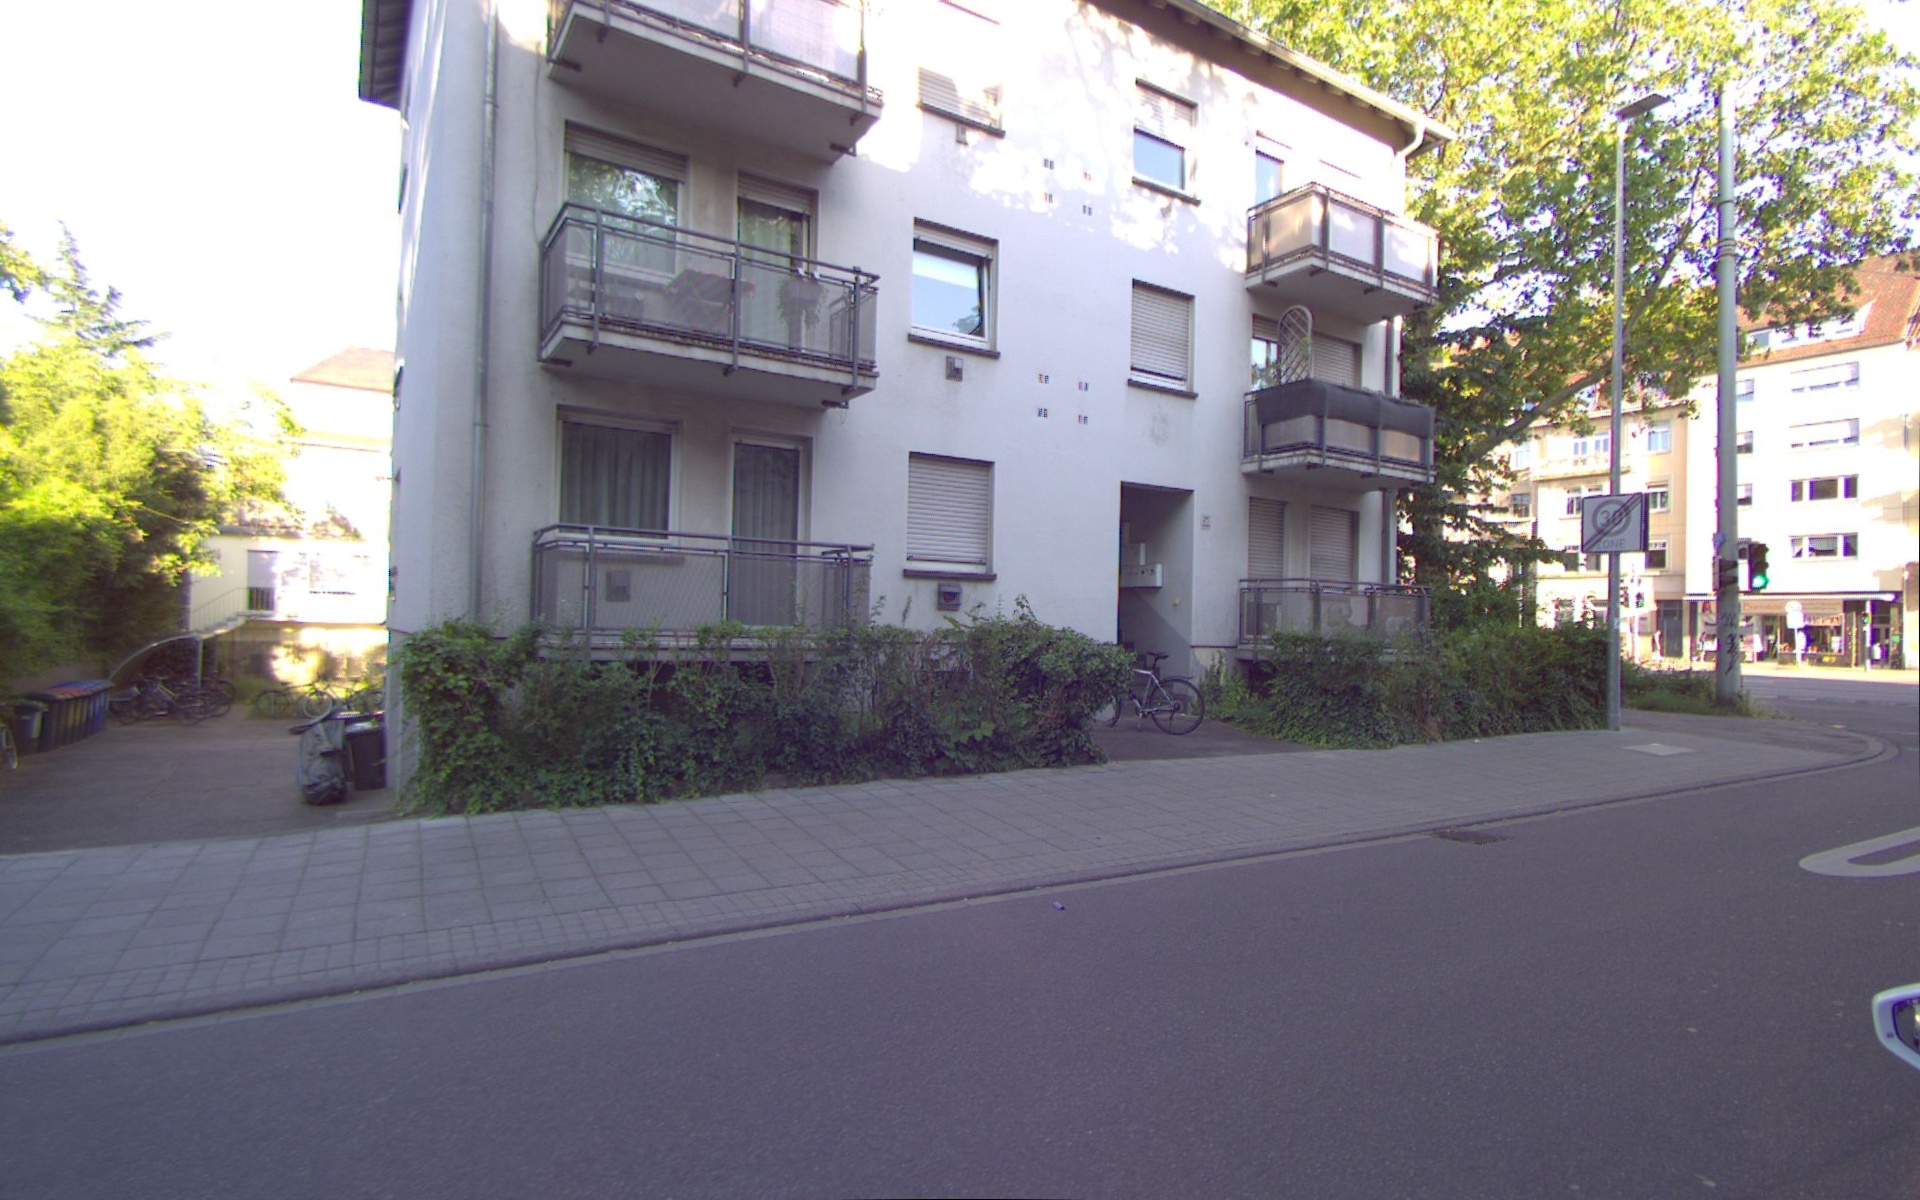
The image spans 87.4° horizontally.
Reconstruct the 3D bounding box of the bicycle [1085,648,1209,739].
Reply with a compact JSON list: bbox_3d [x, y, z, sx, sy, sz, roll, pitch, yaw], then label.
[{"bbox_3d":[2.331,1.149,12.563,1.434,0.988,0.407,3,0,22],"label":"bicycle"}]

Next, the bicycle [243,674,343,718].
[{"bbox_3d":[-17.092,2.474,25.797,2.044,1.034,0.637,4,0,-30],"label":"bicycle"}]

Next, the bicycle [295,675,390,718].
[{"bbox_3d":[-16.155,2.531,26.352,2.044,1.034,0.637,4,0,-30],"label":"bicycle"}]

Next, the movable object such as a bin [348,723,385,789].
[{"bbox_3d":[-9.022,2.357,15.267,0.428,0.899,0.720,2,-3,-33],"label":"movable object such as a bin"}]

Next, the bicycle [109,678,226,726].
[{"bbox_3d":[-18.698,2.409,23.753,2.044,1.034,0.637,4,0,-30],"label":"bicycle"}]

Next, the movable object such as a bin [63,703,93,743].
[{"bbox_3d":[-17.674,2.459,20.134,0.362,0.768,0.362,2,-4,-29],"label":"movable object such as a bin"}]

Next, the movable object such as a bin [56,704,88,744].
[{"bbox_3d":[-17.491,2.440,19.783,0.371,0.768,0.362,2,-4,-29],"label":"movable object such as a bin"}]

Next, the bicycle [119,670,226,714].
[{"bbox_3d":[-20.258,2.376,25.878,2.044,1.034,0.611,4,0,-30],"label":"bicycle"}]

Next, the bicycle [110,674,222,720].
[{"bbox_3d":[-19.440,2.393,24.641,2.044,1.034,0.568,4,0,-30],"label":"bicycle"}]

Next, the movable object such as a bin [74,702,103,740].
[{"bbox_3d":[-18.065,2.506,20.825,0.342,0.768,0.362,2,-4,-29],"label":"movable object such as a bin"}]

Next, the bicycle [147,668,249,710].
[{"bbox_3d":[-20.380,2.380,26.916,2.044,1.034,0.611,4,0,-30],"label":"bicycle"}]

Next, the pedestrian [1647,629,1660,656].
[{"bbox_3d":[39.277,2.395,56.896,0.559,1.531,0.499,0,-1,42],"label":"pedestrian"}]

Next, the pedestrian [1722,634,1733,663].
[{"bbox_3d":[41.733,2.628,54.620,0.467,1.531,0.428,0,-1,41],"label":"pedestrian"}]

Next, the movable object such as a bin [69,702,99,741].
[{"bbox_3d":[-17.857,2.475,20.473,0.362,0.768,0.362,2,-4,-29],"label":"movable object such as a bin"}]

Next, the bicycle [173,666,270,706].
[{"bbox_3d":[-20.393,2.386,27.789,2.044,1.034,0.564,4,0,-30],"label":"bicycle"}]

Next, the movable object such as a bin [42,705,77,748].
[{"bbox_3d":[-17.107,2.389,19.077,0.393,0.784,0.362,2,-4,-29],"label":"movable object such as a bin"}]

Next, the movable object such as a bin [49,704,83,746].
[{"bbox_3d":[-17.297,2.415,19.439,0.377,0.784,0.362,2,-4,-29],"label":"movable object such as a bin"}]

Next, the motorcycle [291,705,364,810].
[{"bbox_3d":[-8.909,2.171,14.125,0.751,1.268,1.578,2,-2,-36],"label":"motorcycle"}]

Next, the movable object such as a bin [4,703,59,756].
[{"bbox_3d":[-16.443,2.290,17.794,0.569,0.891,0.491,2,-4,-29],"label":"movable object such as a bin"}]

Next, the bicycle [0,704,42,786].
[{"bbox_3d":[-14.741,2.195,15.447,0.509,1.033,1.922,3,-2,-31],"label":"bicycle"}]

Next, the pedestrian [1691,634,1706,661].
[{"bbox_3d":[41.113,2.642,55.905,0.531,1.531,0.505,1,-1,-35],"label":"pedestrian"}]
